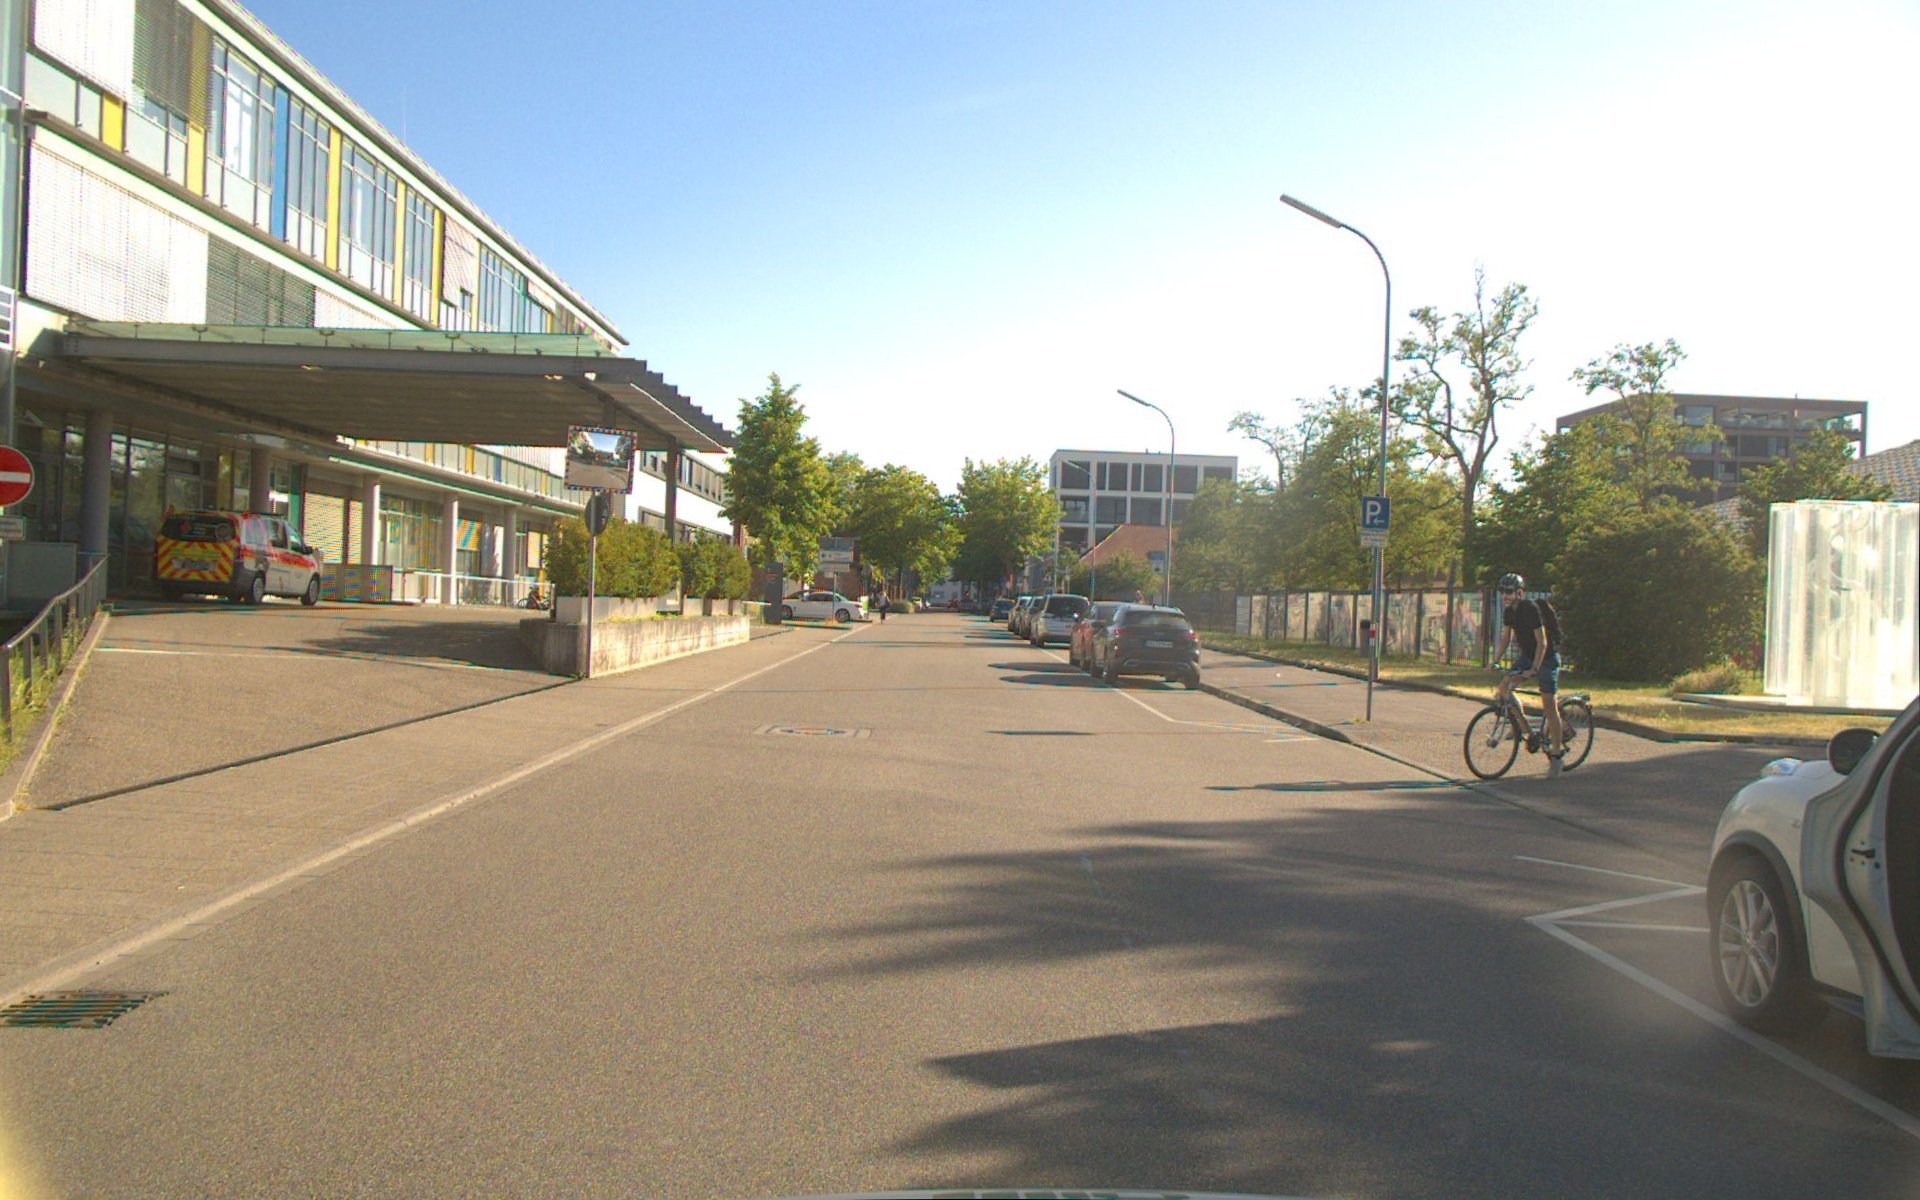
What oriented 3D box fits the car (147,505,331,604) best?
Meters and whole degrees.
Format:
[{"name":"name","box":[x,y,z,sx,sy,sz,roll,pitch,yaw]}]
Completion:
[{"name":"car","box":[-15.238,-0.919,35.266,1.880,1.924,4.710,2,0,-1]}]

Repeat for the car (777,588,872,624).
[{"name":"car","box":[-6.534,0.275,79.677,4.425,1.391,1.698,4,0,-6]}]

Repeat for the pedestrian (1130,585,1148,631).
[{"name":"pedestrian","box":[6.906,0.307,63.679,0.511,1.738,0.522,4,-1,-3]}]

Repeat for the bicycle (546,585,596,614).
[{"name":"bicycle","box":[-14.306,-0.015,60.850,1.680,1.011,0.536,2,0,-2]}]

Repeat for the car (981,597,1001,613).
[{"name":"car","box":[3.094,0.483,166.051,1.731,1.465,3.998,2,0,-2]}]

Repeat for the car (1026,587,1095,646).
[{"name":"car","box":[3.246,0.509,54.475,1.773,1.752,4.703,3,0,-2]}]

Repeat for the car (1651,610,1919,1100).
[{"name":"car","box":[3.915,0.874,5.275,1.630,1.540,4.114,3,0,0]}]

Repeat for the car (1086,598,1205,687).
[{"name":"car","box":[3.566,0.781,32.412,1.666,1.513,4.214,3,0,-2]}]

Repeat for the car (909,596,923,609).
[{"name":"car","box":[-5.465,0.301,206.093,1.731,1.513,3.998,2,0,-2]}]

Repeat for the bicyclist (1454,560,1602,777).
[{"name":"bicyclist","box":[5.581,0.628,16.267,1.040,2.048,0.948,-1,1,-34]}]

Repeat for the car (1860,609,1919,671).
[{"name":"car","box":[23.906,0.988,39.595,3.811,1.403,1.674,2,0,-4]}]

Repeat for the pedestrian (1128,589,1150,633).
[{"name":"pedestrian","box":[6.828,0.411,63.123,0.667,1.639,0.540,4,-1,-3]}]

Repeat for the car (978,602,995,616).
[{"name":"car","box":[3.079,1.026,195.363,1.910,1.605,3.836,2,0,0]}]

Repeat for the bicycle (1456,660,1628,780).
[{"name":"bicycle","box":[5.784,1.160,16.396,1.864,1.026,0.692,-1,2,-36]}]

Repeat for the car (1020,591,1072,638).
[{"name":"car","box":[3.282,0.534,63.851,1.666,1.634,4.352,3,0,0]}]

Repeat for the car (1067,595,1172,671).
[{"name":"car","box":[3.606,0.710,38.197,1.773,1.536,4.721,3,0,-2]}]

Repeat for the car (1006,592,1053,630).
[{"name":"car","box":[3.239,0.468,77.425,1.777,1.616,4.260,3,0,-2]}]

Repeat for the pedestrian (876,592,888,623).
[{"name":"pedestrian","box":[-3.996,0.359,84.324,0.527,1.550,0.607,1,0,0]}]

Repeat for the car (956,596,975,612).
[{"name":"car","box":[0.521,0.424,168.729,1.731,1.575,4.064,2,0,-2]}]

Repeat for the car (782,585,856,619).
[{"name":"car","box":[-7.051,0.097,82.752,3.563,1.494,1.613,3,0,-3]}]

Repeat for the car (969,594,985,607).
[{"name":"car","box":[2.210,0.085,210.930,1.953,1.491,3.836,2,0,0]}]

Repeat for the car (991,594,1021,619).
[{"name":"car","box":[2.926,0.378,105.207,1.780,1.478,4.214,2,0,0]}]
